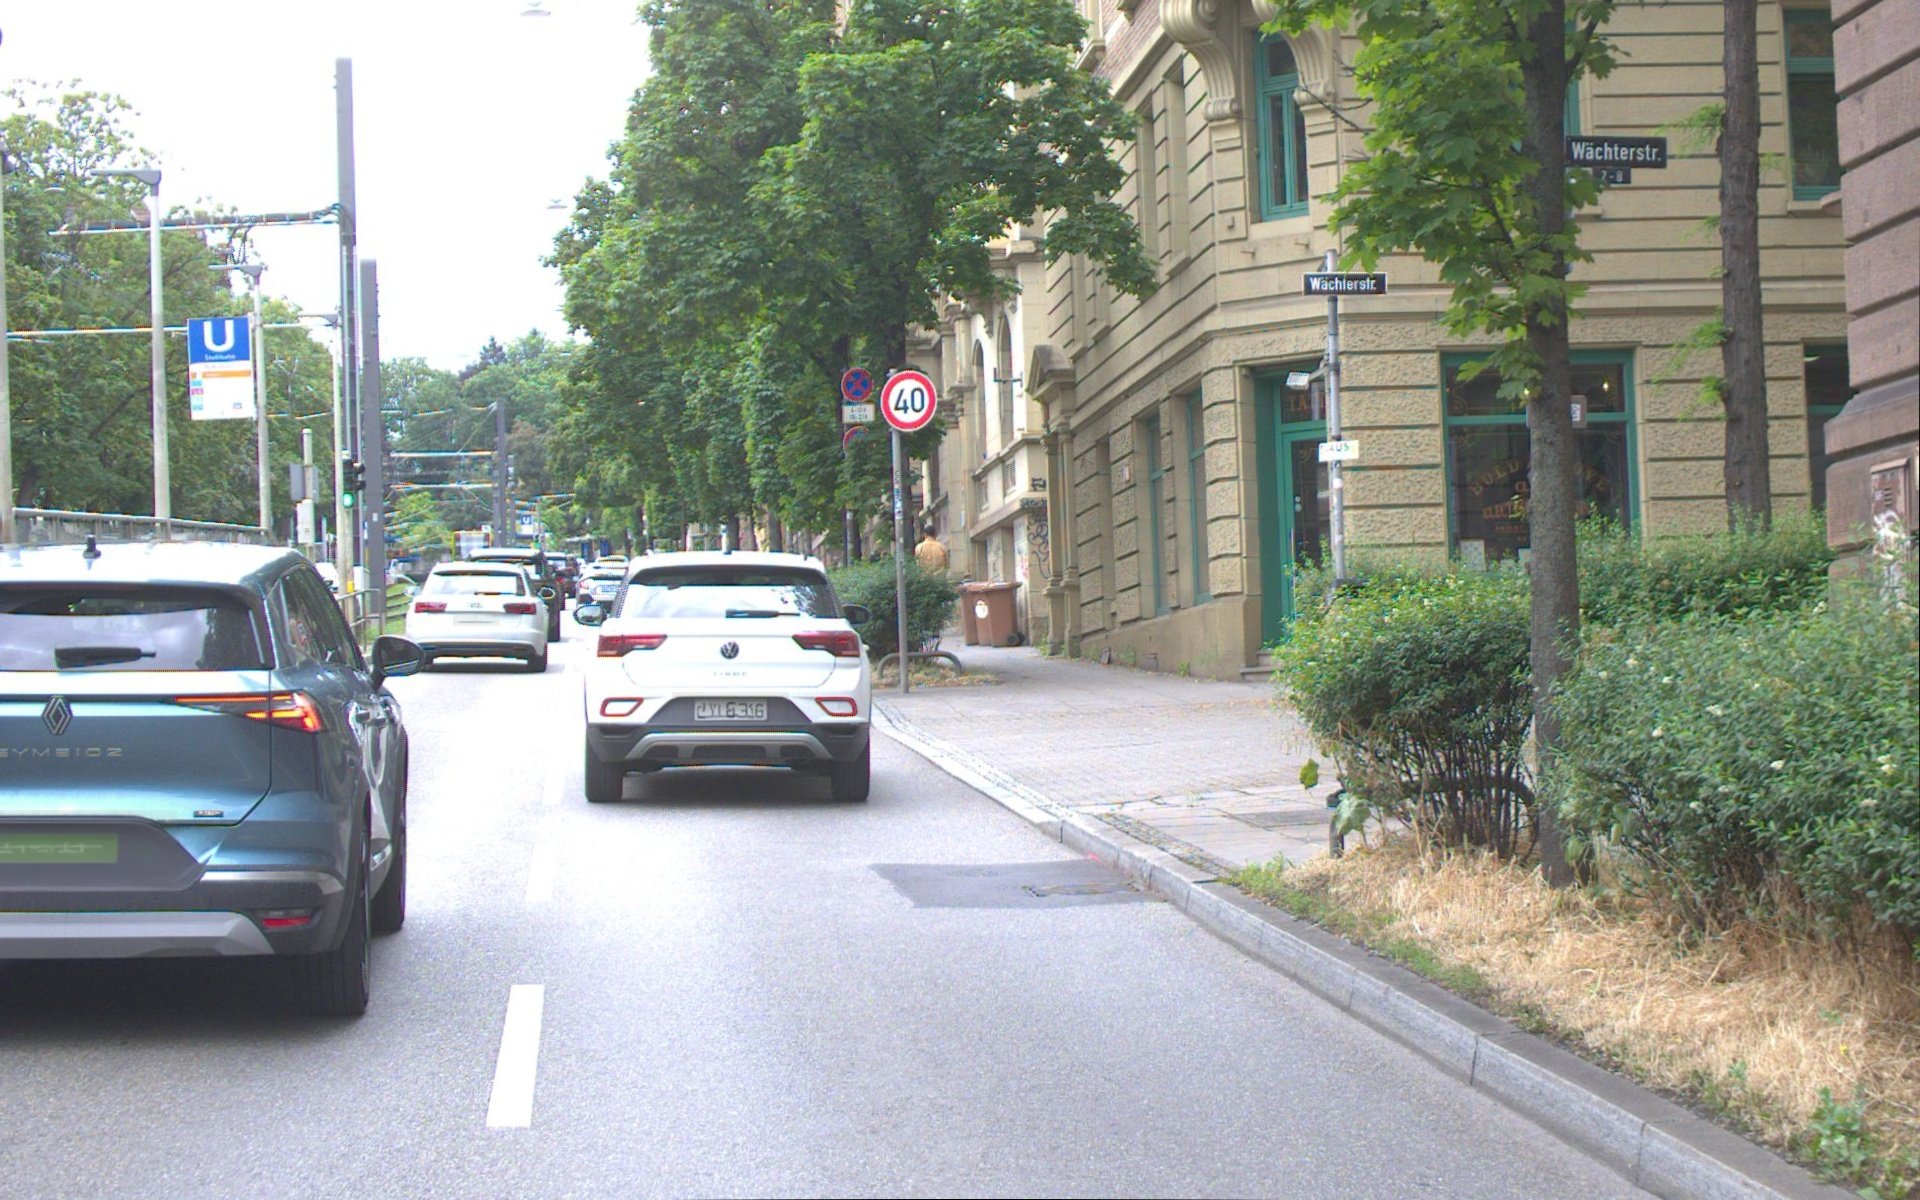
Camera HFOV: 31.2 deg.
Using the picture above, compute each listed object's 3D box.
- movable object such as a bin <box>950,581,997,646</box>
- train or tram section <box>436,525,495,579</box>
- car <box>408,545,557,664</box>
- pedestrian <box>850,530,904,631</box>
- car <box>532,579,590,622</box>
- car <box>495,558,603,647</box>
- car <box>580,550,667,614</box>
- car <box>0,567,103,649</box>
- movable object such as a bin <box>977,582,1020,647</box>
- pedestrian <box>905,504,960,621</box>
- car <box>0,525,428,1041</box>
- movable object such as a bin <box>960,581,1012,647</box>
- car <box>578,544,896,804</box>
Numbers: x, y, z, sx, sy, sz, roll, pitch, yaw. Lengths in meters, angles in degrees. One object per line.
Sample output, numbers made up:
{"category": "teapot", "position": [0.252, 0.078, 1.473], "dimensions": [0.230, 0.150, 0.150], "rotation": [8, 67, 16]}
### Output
{"category": "movable object such as a bin", "position": [0.195, 0.193, 50.564], "dimensions": [0.611, 0.916, 0.493], "rotation": [-3, 1, -3]}
{"category": "train or tram section", "position": [-32.026, -3.086, 223.070], "dimensions": [2.995, 3.337, 13.441], "rotation": [-1, 0, -5]}
{"category": "car", "position": [-6.462, 0.052, 46.851], "dimensions": [1.835, 1.541, 4.194], "rotation": [0, 0, -6]}
{"category": "pedestrian", "position": [-1.341, -0.322, 55.391], "dimensions": [0.685, 1.569, 1.217], "rotation": [-3, 1, -6]}
{"category": "car", "position": [-14.682, 0.017, 126.280], "dimensions": [2.068, 1.541, 4.194], "rotation": [0, 0, -7]}
{"category": "car", "position": [-7.366, 0.034, 61.936], "dimensions": [1.835, 1.541, 4.194], "rotation": [0, 0, -6]}
{"category": "car", "position": [-8.314, -0.444, 85.261], "dimensions": [2.068, 1.541, 4.194], "rotation": [0, 0, -4]}
{"category": "car", "position": [-20.480, 0.149, 77.164], "dimensions": [1.709, 1.730, 4.577], "rotation": [-2, 1, -5]}
{"category": "movable object such as a bin", "position": [0.555, 0.210, 49.349], "dimensions": [0.500, 0.916, 0.443], "rotation": [-1, 1, 14]}
{"category": "pedestrian", "position": [-0.441, -0.600, 55.302], "dimensions": [0.685, 1.823, 1.121], "rotation": [-3, 0, -6]}
{"category": "car", "position": [-2.960, 0.536, 12.364], "dimensions": [1.835, 1.541, 4.194], "rotation": [0, 0, -6]}
{"category": "movable object such as a bin", "position": [0.382, 0.203, 49.990], "dimensions": [0.493, 0.916, 0.500], "rotation": [-3, 1, 43]}
{"category": "car", "position": [-1.556, 0.434, 22.578], "dimensions": [1.835, 1.541, 4.194], "rotation": [0, 0, -7]}
